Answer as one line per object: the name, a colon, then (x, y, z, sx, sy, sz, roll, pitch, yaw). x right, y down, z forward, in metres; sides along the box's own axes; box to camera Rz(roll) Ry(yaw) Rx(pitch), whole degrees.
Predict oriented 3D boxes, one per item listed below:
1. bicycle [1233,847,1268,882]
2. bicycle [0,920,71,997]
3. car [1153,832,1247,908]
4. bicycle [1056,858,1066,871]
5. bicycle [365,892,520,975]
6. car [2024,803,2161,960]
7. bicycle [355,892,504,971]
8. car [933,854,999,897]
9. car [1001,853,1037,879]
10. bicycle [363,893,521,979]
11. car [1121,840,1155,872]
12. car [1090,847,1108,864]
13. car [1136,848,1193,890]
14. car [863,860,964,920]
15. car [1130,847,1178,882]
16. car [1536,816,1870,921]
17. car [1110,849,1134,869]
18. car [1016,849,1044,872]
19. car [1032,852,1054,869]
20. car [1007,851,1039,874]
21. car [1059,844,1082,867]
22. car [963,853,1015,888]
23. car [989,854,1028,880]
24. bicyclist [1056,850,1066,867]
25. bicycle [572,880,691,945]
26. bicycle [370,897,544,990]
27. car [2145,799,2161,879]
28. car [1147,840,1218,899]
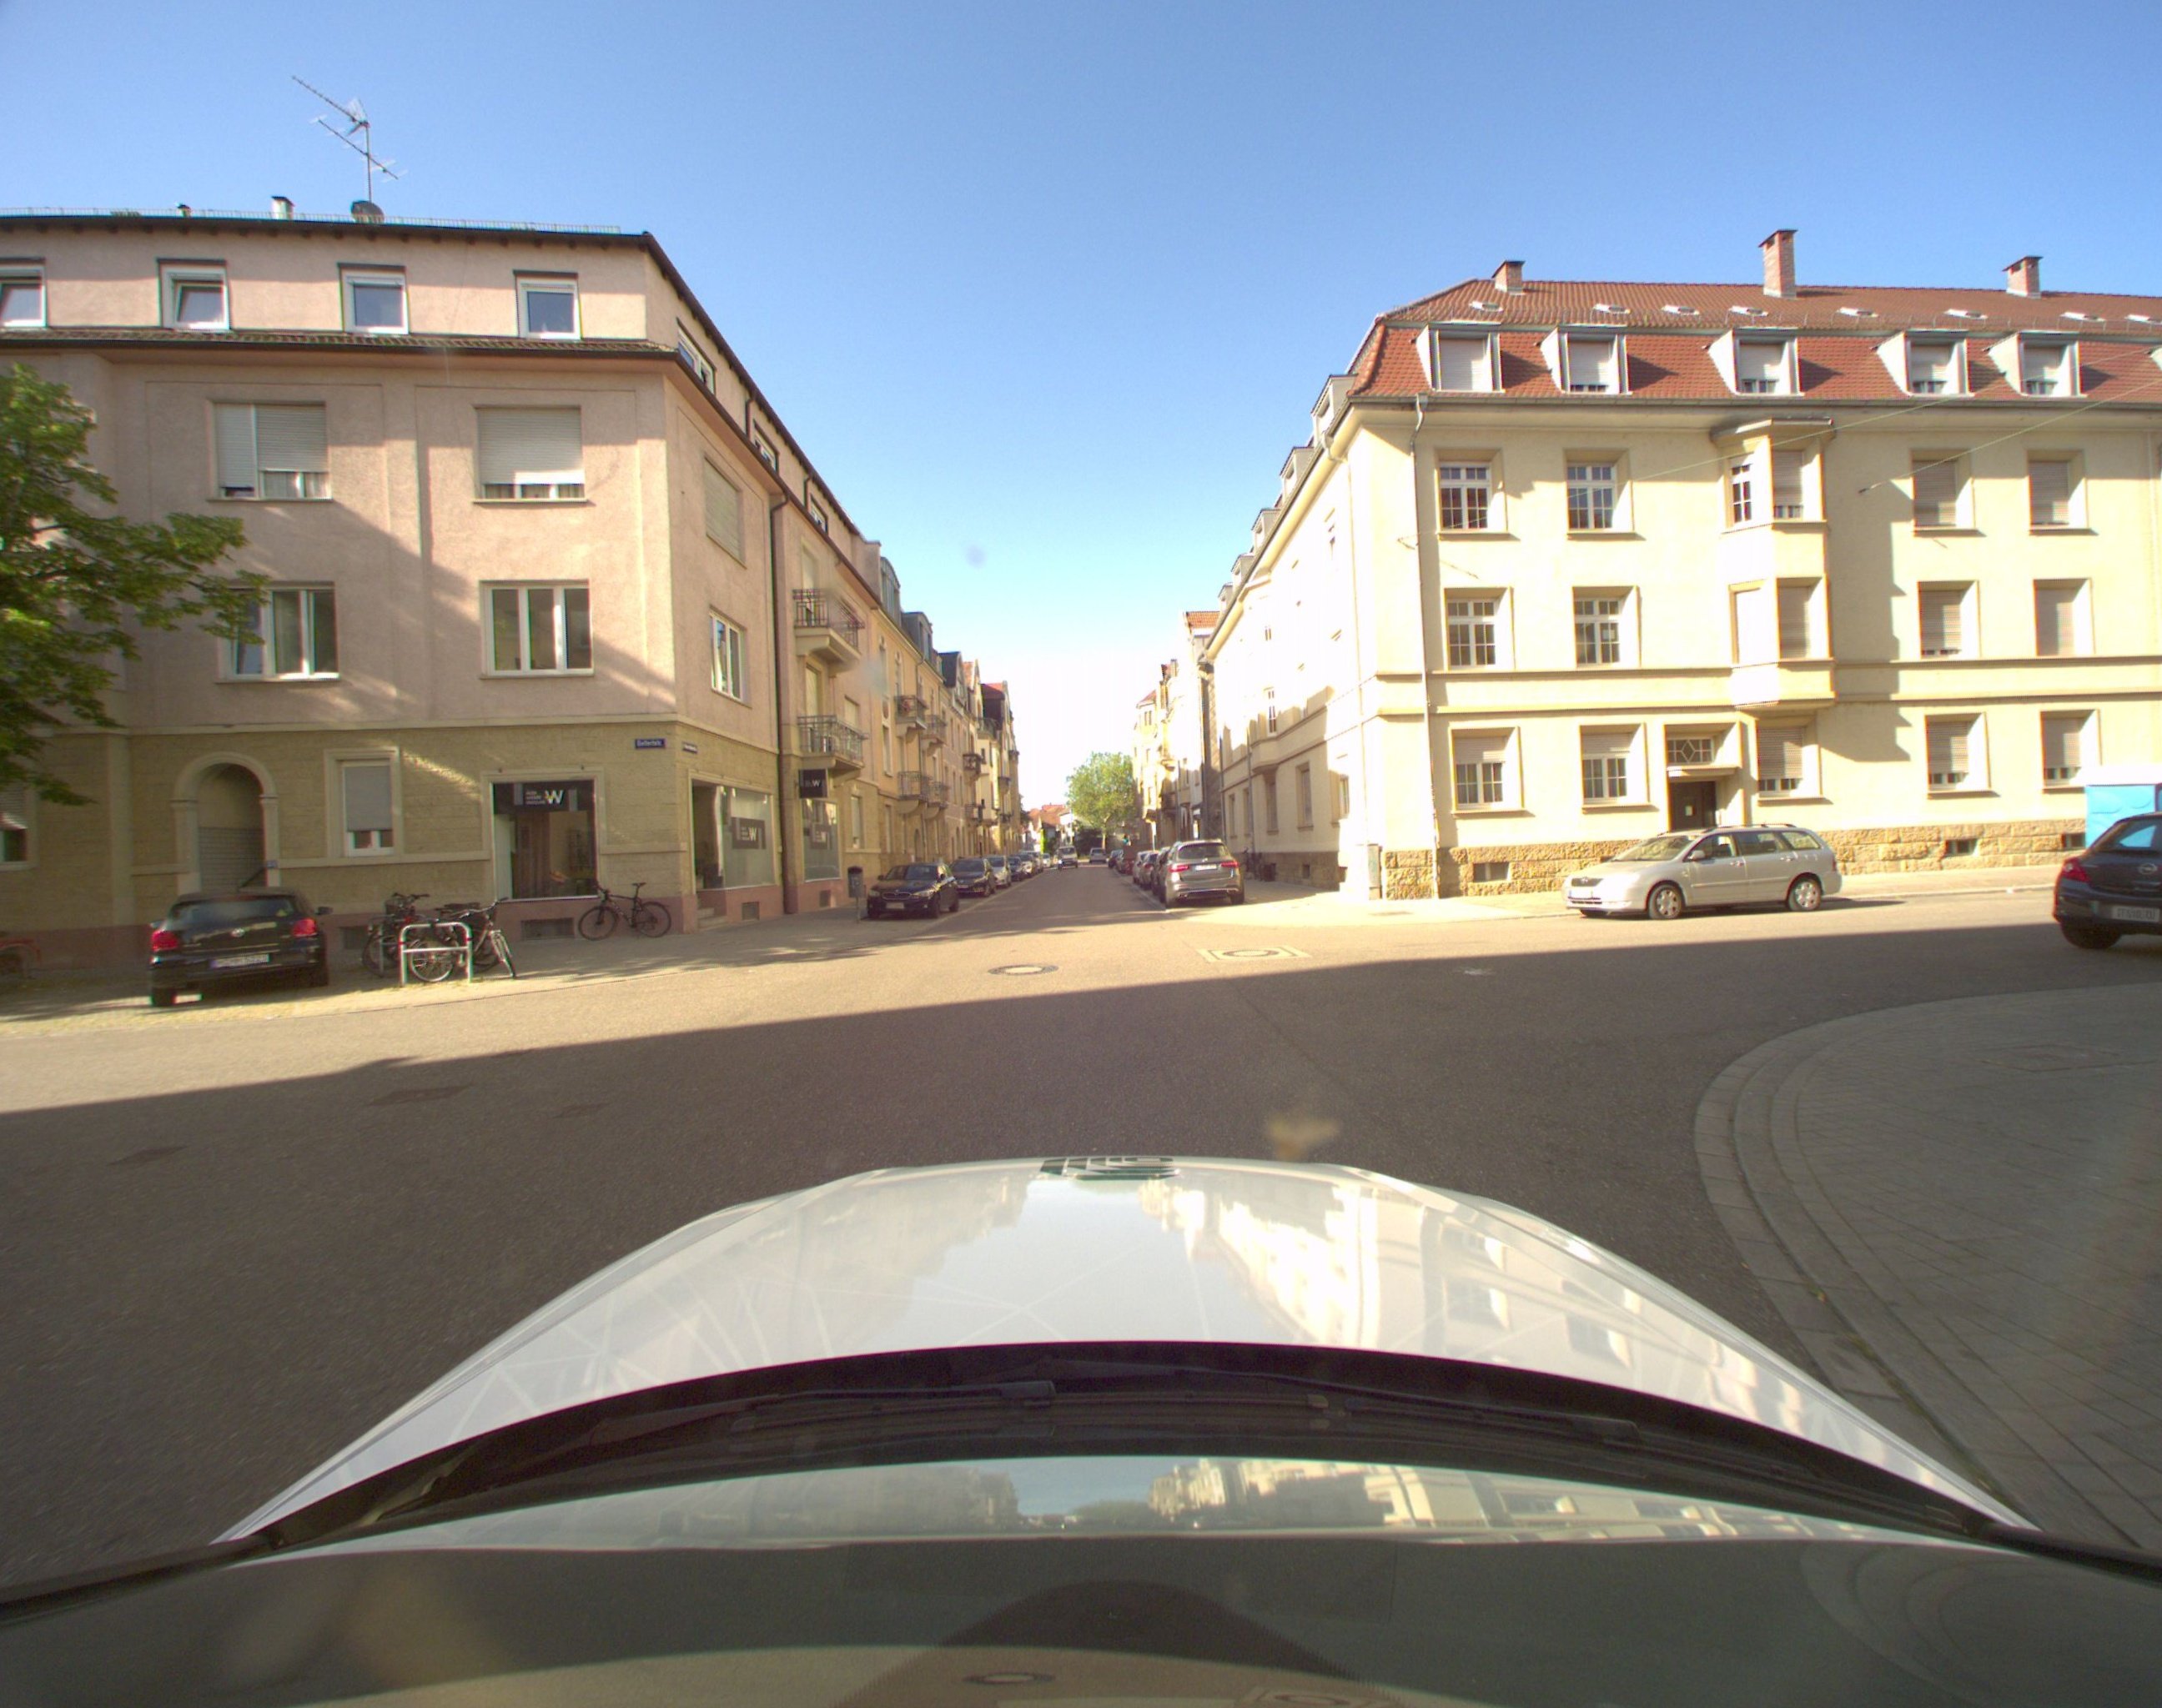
bicycle: (6.417, 0.382, 30.899, 0.759, 1.246, 2.591, -2, 0, 0)
bicycle: (-16.562, 1.623, 12.275, 0.503, 1.063, 1.888, 0, 1, -8)
car: (3.008, 0.423, 21.513, 1.906, 1.644, 4.776, -4, -1, 3)
bicycle: (-1.600, 0.857, 66.082, 0.660, 1.019, 2.066, -4, -1, 0)
bicycle: (-9.957, 1.231, 12.734, 1.893, 1.135, 0.526, -3, 2, -2)
car: (11.890, 0.181, 7.993, 3.618, 1.468, 1.689, -3, 0, -7)
bicycle: (-10.620, 1.253, 13.320, 1.893, 1.135, 0.526, -3, 2, -2)
car: (-4.455, 0.804, 32.186, 1.997, 1.582, 4.486, 0, -1, -1)
car: (-4.027, 0.779, 53.283, 1.997, 1.619, 4.486, 0, -1, -1)
bicycle: (-9.567, 1.218, 12.217, 1.891, 1.135, 0.526, -2, 2, 1)
car: (3.481, 0.184, 50.393, 1.832, 1.787, 4.029, -3, -2, 1)
car: (2.035, 0.161, 91.845, 1.997, 1.914, 4.487, 0, -1, 0)
car: (3.229, 0.594, 32.198, 1.832, 1.431, 4.029, -4, -1, 1)
car: (-4.369, 0.896, 21.893, 1.673, 1.426, 4.276, 0, -1, 2)
car: (3.307, 0.507, 37.592, 1.832, 1.431, 4.029, -4, -1, 1)
car: (10.577, 0.247, 14.019, 4.533, 1.468, 1.824, -3, -2, -7)
car: (3.430, 0.438, 69.215, 1.832, 1.431, 4.029, -4, -2, 1)
car: (-3.996, 0.532, 64.473, 1.997, 1.788, 4.486, 0, -1, -1)
car: (-3.677, 0.606, 79.289, 1.997, 1.605, 4.486, 0, -1, -1)
car: (-4.153, 0.617, 58.789, 1.997, 1.619, 4.486, 0, -1, -1)
car: (-0.922, 0.141, 73.658, 1.997, 2.000, 4.486, 0, -1, -1)
car: (-4.404, 0.783, 39.603, 1.997, 1.619, 4.486, 0, -1, -1)
car: (-4.269, 0.776, 48.713, 1.972, 1.482, 4.326, 0, -1, -1)
bicyclist: (-1.622, 0.376, 66.104, 0.660, 1.385, 0.753, -4, -1, -1)
bicycle: (-8.797, 1.125, 16.002, 1.896, 1.135, 0.647, -2, 2, -7)
bicycle: (-8.758, 1.245, 11.475, 1.891, 1.135, 0.648, -3, 2, 1)
car: (23.252, -0.422, 15.318, 4.533, 1.554, 1.824, -3, -2, -7)
car: (3.170, 0.499, 26.134, 1.739, 1.608, 4.029, -4, -1, 1)
